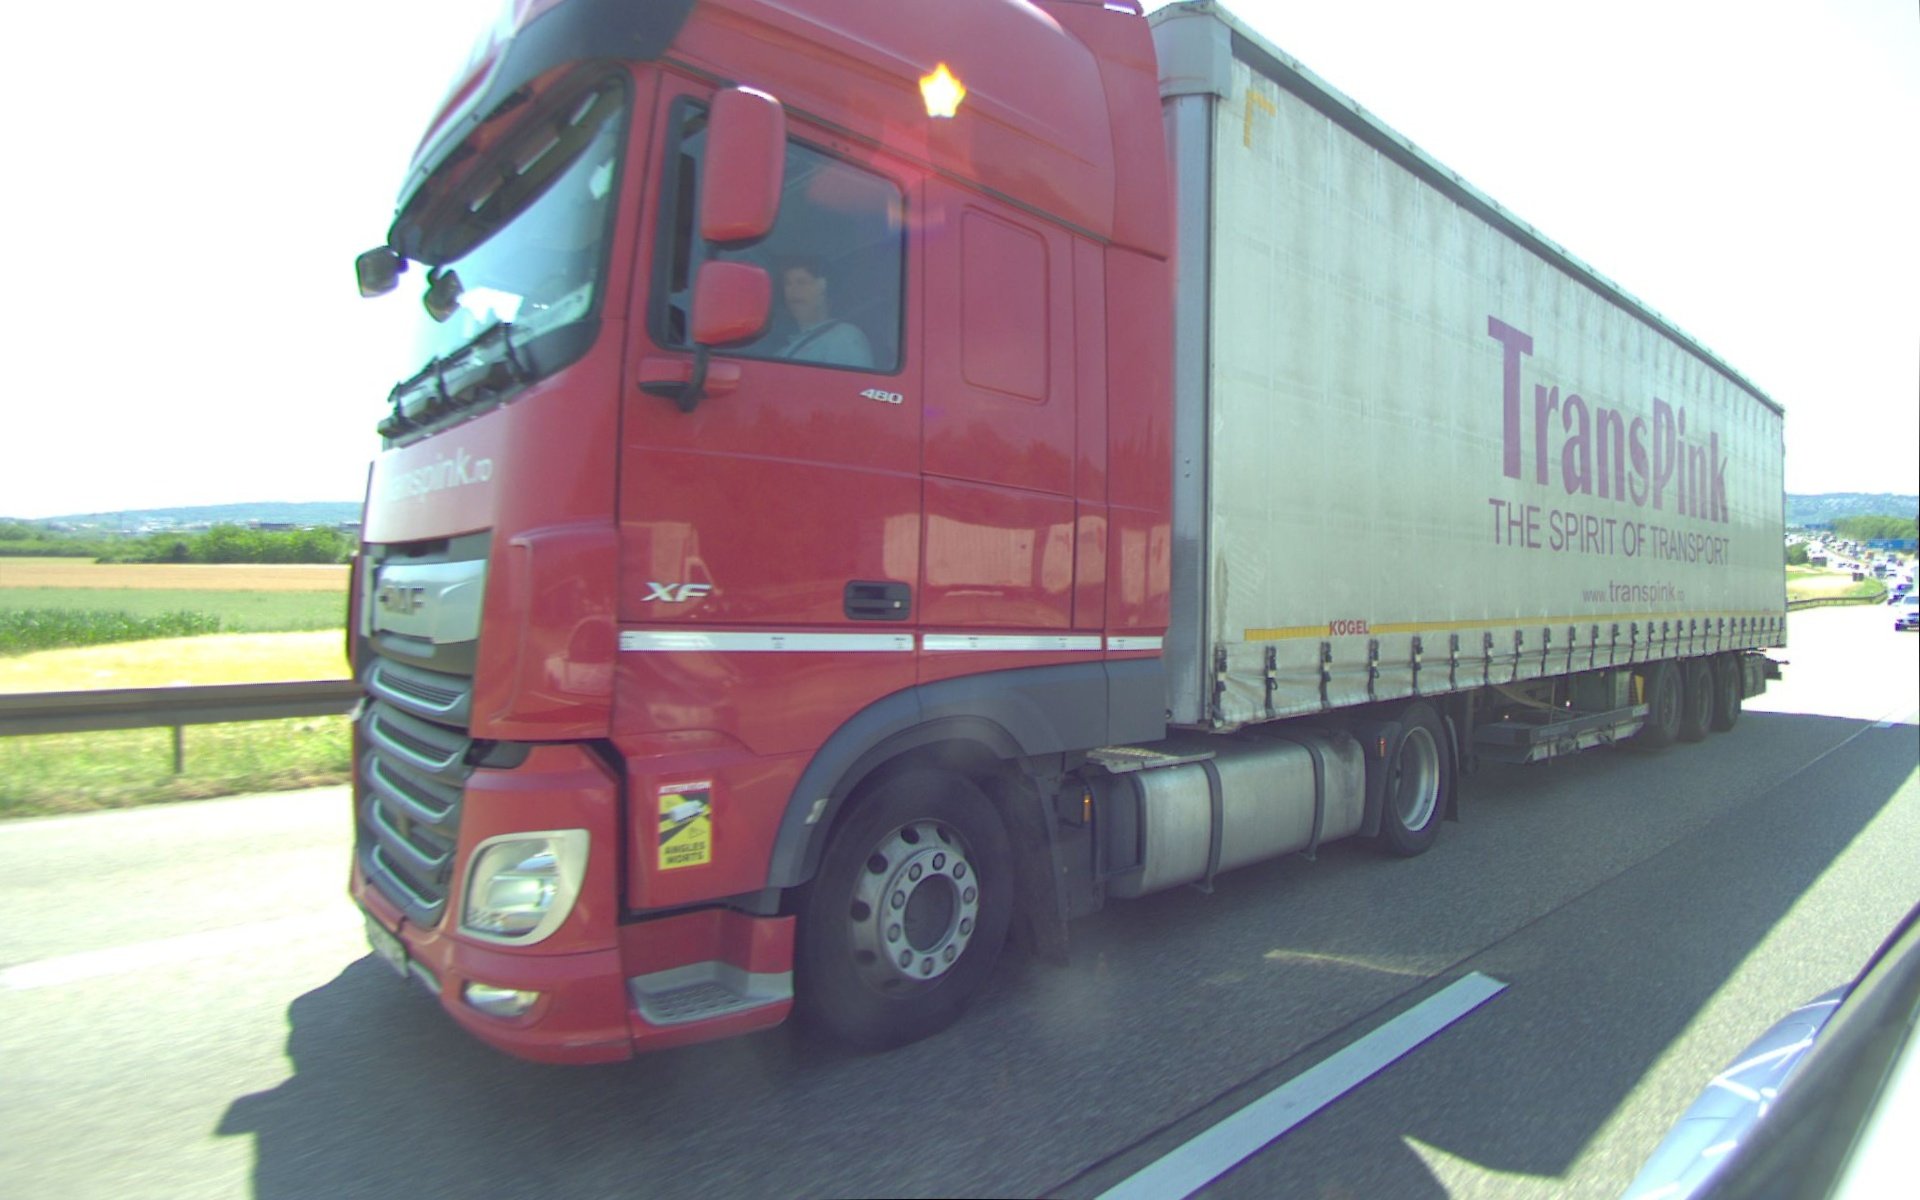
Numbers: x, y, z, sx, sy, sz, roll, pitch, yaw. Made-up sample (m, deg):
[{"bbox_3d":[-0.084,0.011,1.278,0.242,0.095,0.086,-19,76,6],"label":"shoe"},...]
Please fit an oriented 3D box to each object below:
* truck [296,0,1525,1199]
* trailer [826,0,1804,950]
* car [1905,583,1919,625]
[{"bbox_3d":[0.382,-0.627,5.587,6.400,4.059,2.920,-1,0,-43],"label":"truck"},{"bbox_3d":[5.171,-0.714,9.949,13.621,4.169,2.922,-1,1,-42],"label":"trailer"},{"bbox_3d":[40.915,0.137,42.382,1.833,1.665,4.106,0,1,45],"label":"car"}]
